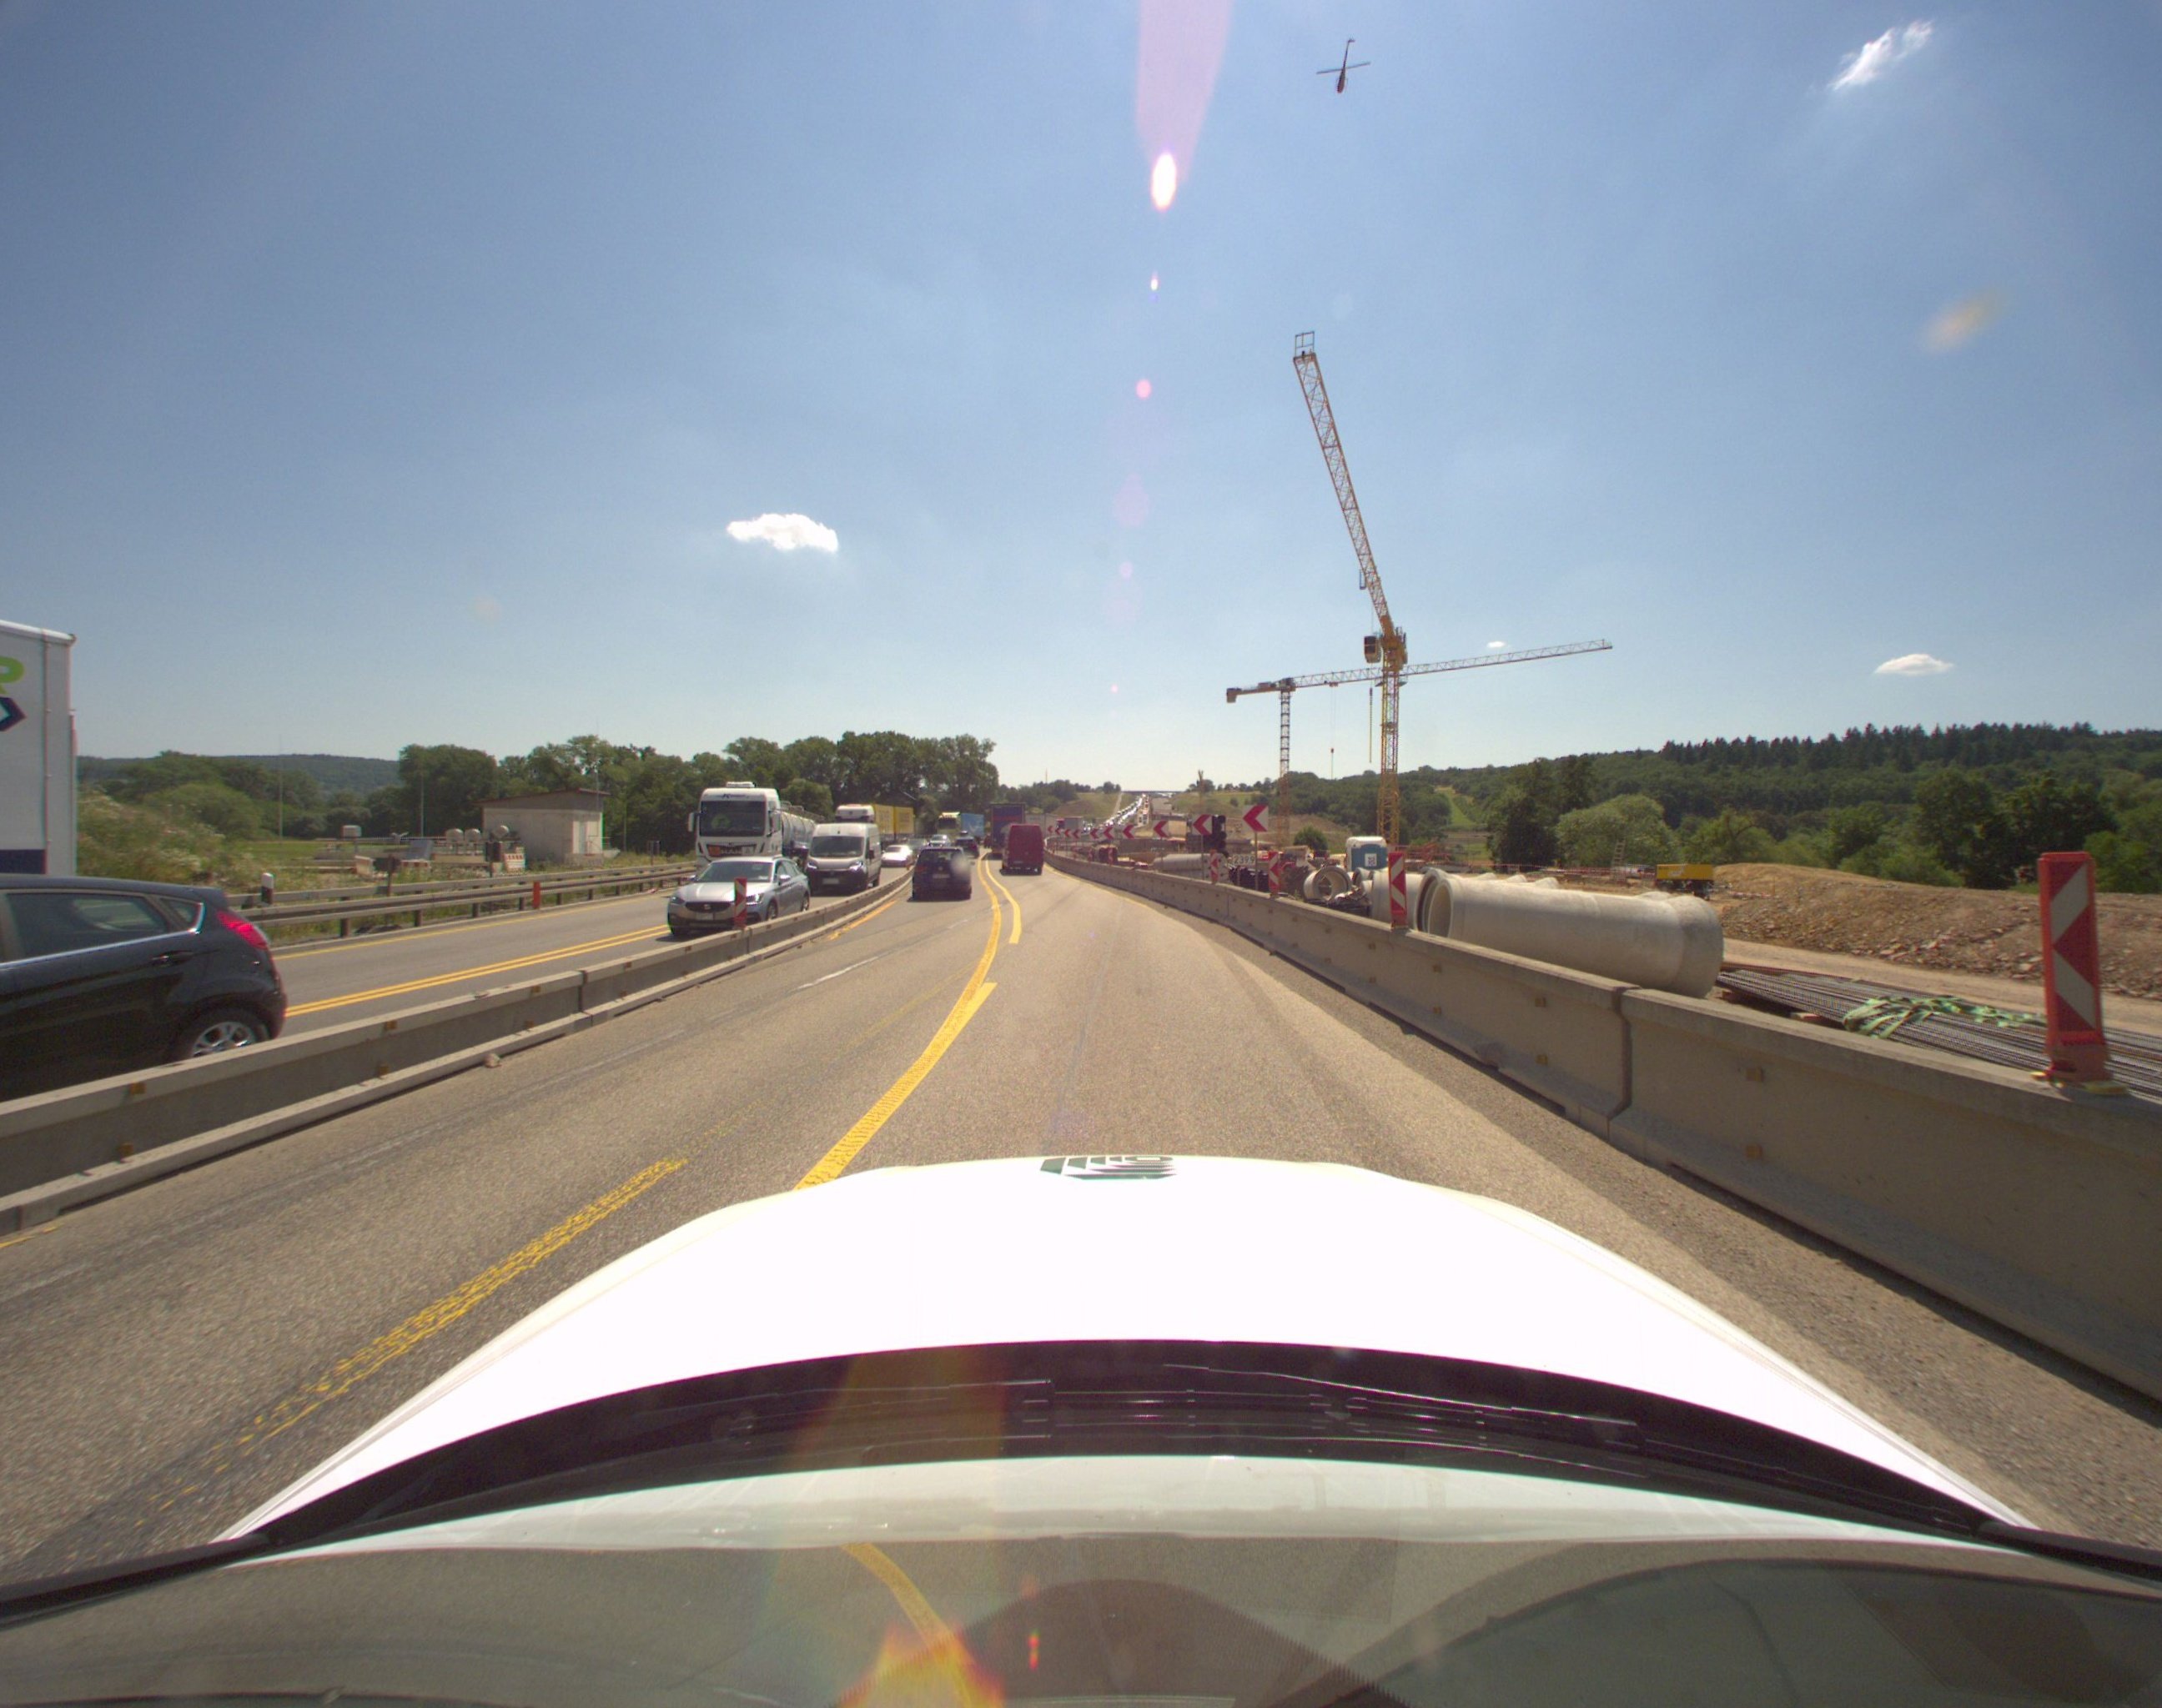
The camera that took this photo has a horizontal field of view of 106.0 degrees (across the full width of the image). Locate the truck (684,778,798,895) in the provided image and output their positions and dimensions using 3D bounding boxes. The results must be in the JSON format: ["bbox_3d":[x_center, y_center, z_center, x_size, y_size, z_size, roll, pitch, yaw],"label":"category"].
[{"bbox_3d":[-12.076,-0.584,29.363,2.532,3.821,4.936,1,0,-8],"label":"truck"}]

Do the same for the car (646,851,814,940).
[{"bbox_3d":[-6.756,0.703,16.240,1.843,1.464,4.513,0,1,-7],"label":"car"}]

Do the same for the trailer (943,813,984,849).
[{"bbox_3d":[-15.032,-2.869,105.118,2.637,4.292,13.319,1,1,3],"label":"trailer"}]

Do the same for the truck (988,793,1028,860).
[{"bbox_3d":[-5.601,-2.132,63.179,2.939,4.944,6.732,0,1,-4],"label":"truck"}]

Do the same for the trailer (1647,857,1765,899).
[{"bbox_3d":[23.649,0.865,30.985,1.617,1.486,3.827,1,0,1],"label":"trailer"}]

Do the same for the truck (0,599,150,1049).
[{"bbox_3d":[-9.864,-0.239,3.209,2.810,3.575,8.490,0,0,-2],"label":"truck"}]

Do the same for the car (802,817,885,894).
[{"bbox_3d":[-8.552,0.086,29.879,2.070,2.503,6.464,0,-1,-9],"label":"car"}]

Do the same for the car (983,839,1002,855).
[{"bbox_3d":[-9.456,-0.787,87.124,1.830,1.635,4.099,0,1,-5],"label":"car"}]

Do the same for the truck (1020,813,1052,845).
[{"bbox_3d":[-5.610,-3.157,103.627,3.167,3.989,6.751,0,2,4],"label":"truck"}]

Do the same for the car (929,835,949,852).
[{"bbox_3d":[-13.255,-0.995,76.299,1.635,1.485,3.992,0,3,-7],"label":"car"}]

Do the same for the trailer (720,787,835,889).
[{"bbox_3d":[-12.913,-0.606,35.697,2.524,3.789,10.216,1,0,-8],"label":"trailer"}]

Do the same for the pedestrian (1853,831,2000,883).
[{"bbox_3d":[34.419,0.183,33.325,1.985,2.014,4.003,0,-2,4],"label":"pedestrian"}]

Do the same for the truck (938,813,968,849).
[{"bbox_3d":[-15.417,-2.763,98.346,2.615,4.270,4.735,1,1,2],"label":"truck"}]

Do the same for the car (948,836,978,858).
[{"bbox_3d":[-8.813,-0.518,61.212,1.830,1.635,4.384,0,0,-3],"label":"car"}]

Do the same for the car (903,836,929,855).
[{"bbox_3d":[-12.655,-0.669,62.576,1.676,1.361,4.490,0,2,-9],"label":"car"}]

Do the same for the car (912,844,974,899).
[{"bbox_3d":[-4.382,0.501,26.394,1.732,1.635,4.379,0,1,-7],"label":"car"}]

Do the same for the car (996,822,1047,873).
[{"bbox_3d":[-3.347,-0.372,44.707,2.151,2.610,5.418,0,1,-11],"label":"car"}]

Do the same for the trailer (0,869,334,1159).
[{"bbox_3d":[-6.217,0.803,3.871,1.659,1.431,3.998,0,-1,-1],"label":"trailer"}]

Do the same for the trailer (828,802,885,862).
[{"bbox_3d":[-16.504,-1.617,60.158,2.858,4.229,5.215,0,1,-2],"label":"trailer"}]

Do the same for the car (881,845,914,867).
[{"bbox_3d":[-11.257,0.096,50.279,1.676,1.264,4.324,0,2,-9],"label":"car"}]

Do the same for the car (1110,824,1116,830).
[{"bbox_3d":[8.662,-7.414,221.688,1.610,1.699,3.894,1,2,4],"label":"car"}]

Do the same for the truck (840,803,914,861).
[{"bbox_3d":[-16.773,-1.798,68.466,2.799,4.342,15.365,0,1,-2],"label":"truck"}]

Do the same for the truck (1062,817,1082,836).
[{"bbox_3d":[-1.640,-5.086,152.306,3.169,2.977,8.907,0,-2,4],"label":"truck"}]
